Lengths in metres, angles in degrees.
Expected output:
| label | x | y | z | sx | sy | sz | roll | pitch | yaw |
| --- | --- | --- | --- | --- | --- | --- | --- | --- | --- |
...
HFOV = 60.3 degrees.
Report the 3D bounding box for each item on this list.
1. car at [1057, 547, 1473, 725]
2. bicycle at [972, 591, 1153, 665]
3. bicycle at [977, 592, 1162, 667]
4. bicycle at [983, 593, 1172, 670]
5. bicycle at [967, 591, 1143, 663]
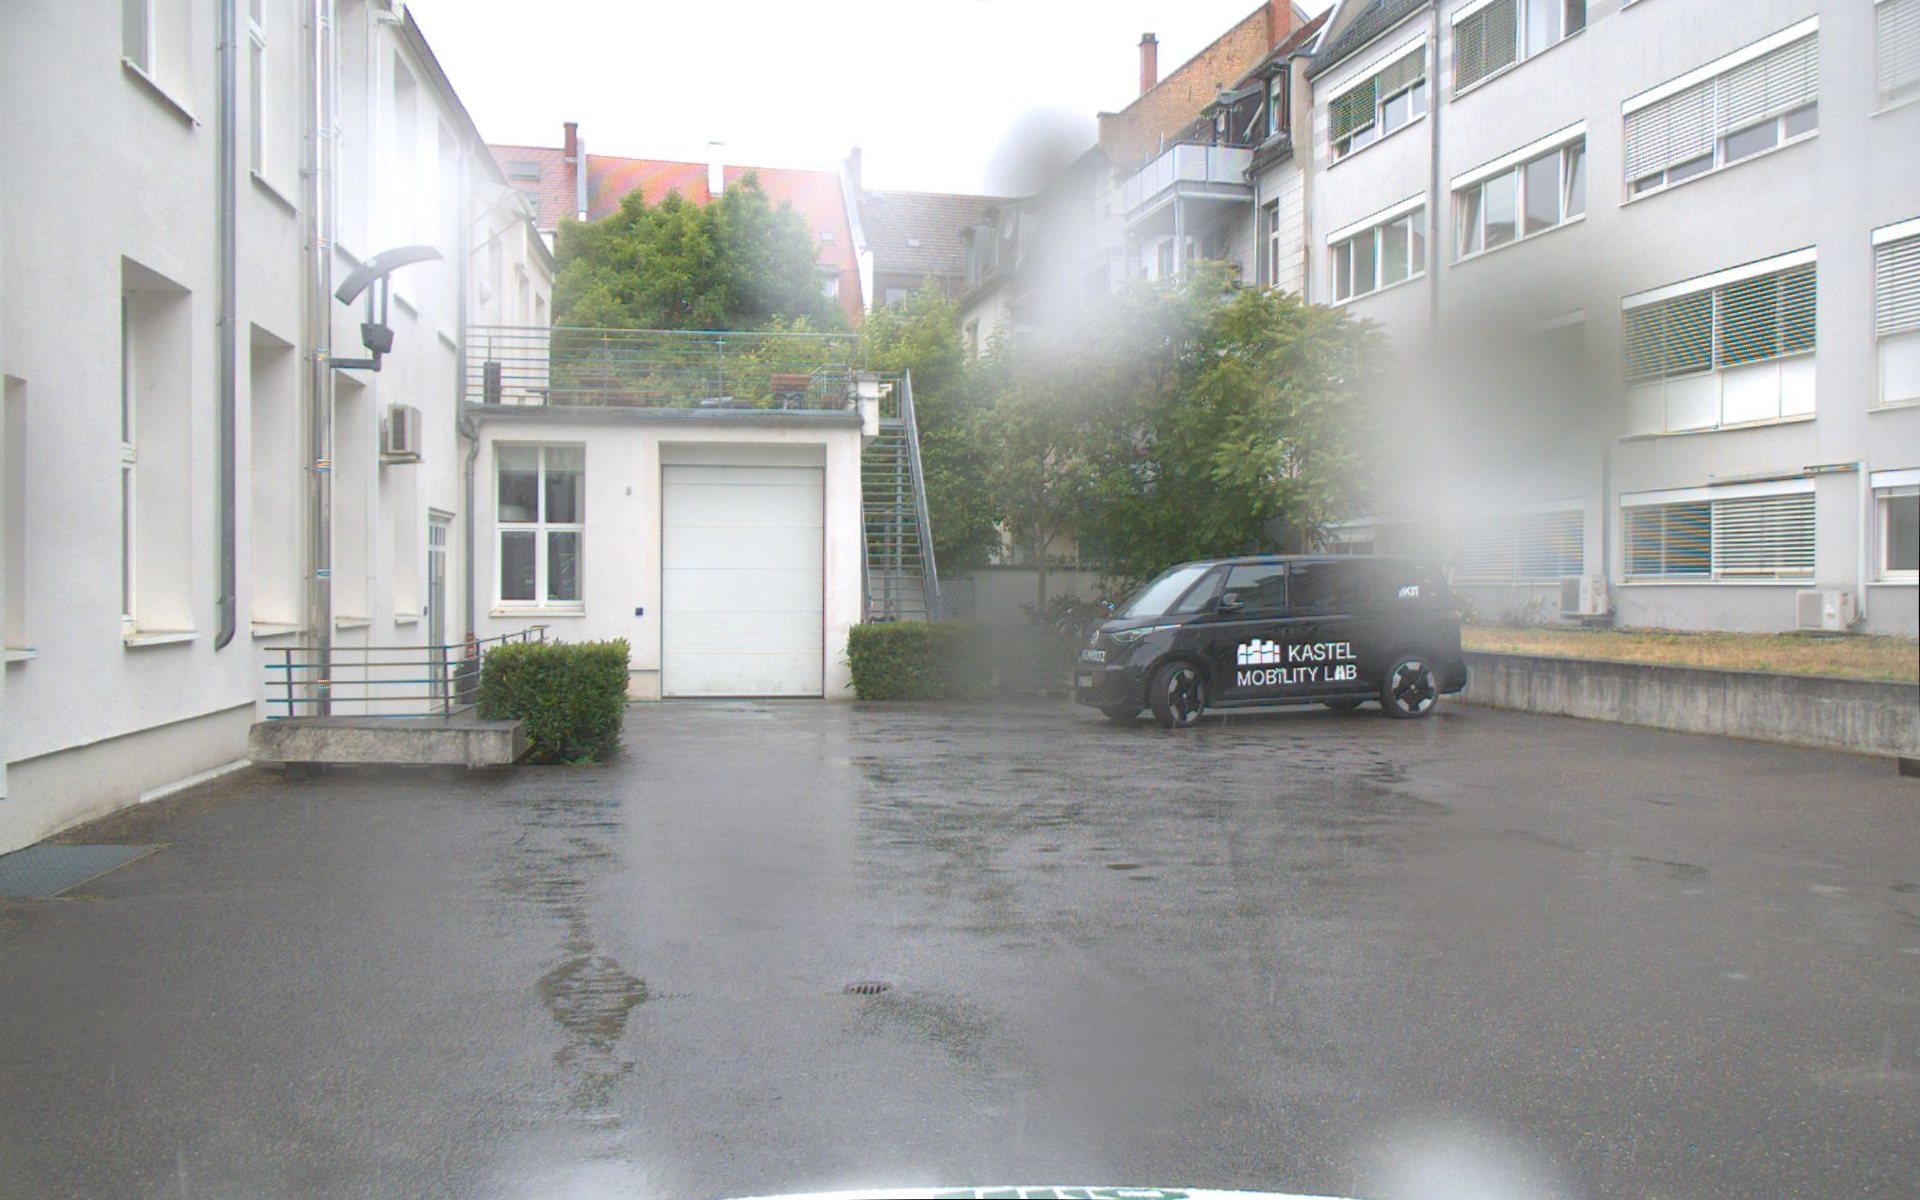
| label | x | y | z | sx | sy | sz | roll | pitch | yaw |
| --- | --- | --- | --- | --- | --- | --- | --- | --- | --- |
| car | 3.575 | 0.379 | 19.633 | 4.435 | 1.930 | 2.037 | 0 | 0 | -16 |
| bicycle | 1.818 | 0.487 | 29.433 | 3.156 | 1.263 | 0.629 | 0 | 0 | -11 |
| bicycle | 1.907 | 0.502 | 28.767 | 3.156 | 1.263 | 0.629 | 0 | 0 | -11 |
| bicycle | 1.991 | 0.517 | 28.073 | 3.156 | 1.263 | 0.629 | 0 | 0 | -11 |
| bicycle | 1.727 | 0.473 | 30.078 | 3.156 | 1.263 | 0.629 | 0 | 0 | -11 |
